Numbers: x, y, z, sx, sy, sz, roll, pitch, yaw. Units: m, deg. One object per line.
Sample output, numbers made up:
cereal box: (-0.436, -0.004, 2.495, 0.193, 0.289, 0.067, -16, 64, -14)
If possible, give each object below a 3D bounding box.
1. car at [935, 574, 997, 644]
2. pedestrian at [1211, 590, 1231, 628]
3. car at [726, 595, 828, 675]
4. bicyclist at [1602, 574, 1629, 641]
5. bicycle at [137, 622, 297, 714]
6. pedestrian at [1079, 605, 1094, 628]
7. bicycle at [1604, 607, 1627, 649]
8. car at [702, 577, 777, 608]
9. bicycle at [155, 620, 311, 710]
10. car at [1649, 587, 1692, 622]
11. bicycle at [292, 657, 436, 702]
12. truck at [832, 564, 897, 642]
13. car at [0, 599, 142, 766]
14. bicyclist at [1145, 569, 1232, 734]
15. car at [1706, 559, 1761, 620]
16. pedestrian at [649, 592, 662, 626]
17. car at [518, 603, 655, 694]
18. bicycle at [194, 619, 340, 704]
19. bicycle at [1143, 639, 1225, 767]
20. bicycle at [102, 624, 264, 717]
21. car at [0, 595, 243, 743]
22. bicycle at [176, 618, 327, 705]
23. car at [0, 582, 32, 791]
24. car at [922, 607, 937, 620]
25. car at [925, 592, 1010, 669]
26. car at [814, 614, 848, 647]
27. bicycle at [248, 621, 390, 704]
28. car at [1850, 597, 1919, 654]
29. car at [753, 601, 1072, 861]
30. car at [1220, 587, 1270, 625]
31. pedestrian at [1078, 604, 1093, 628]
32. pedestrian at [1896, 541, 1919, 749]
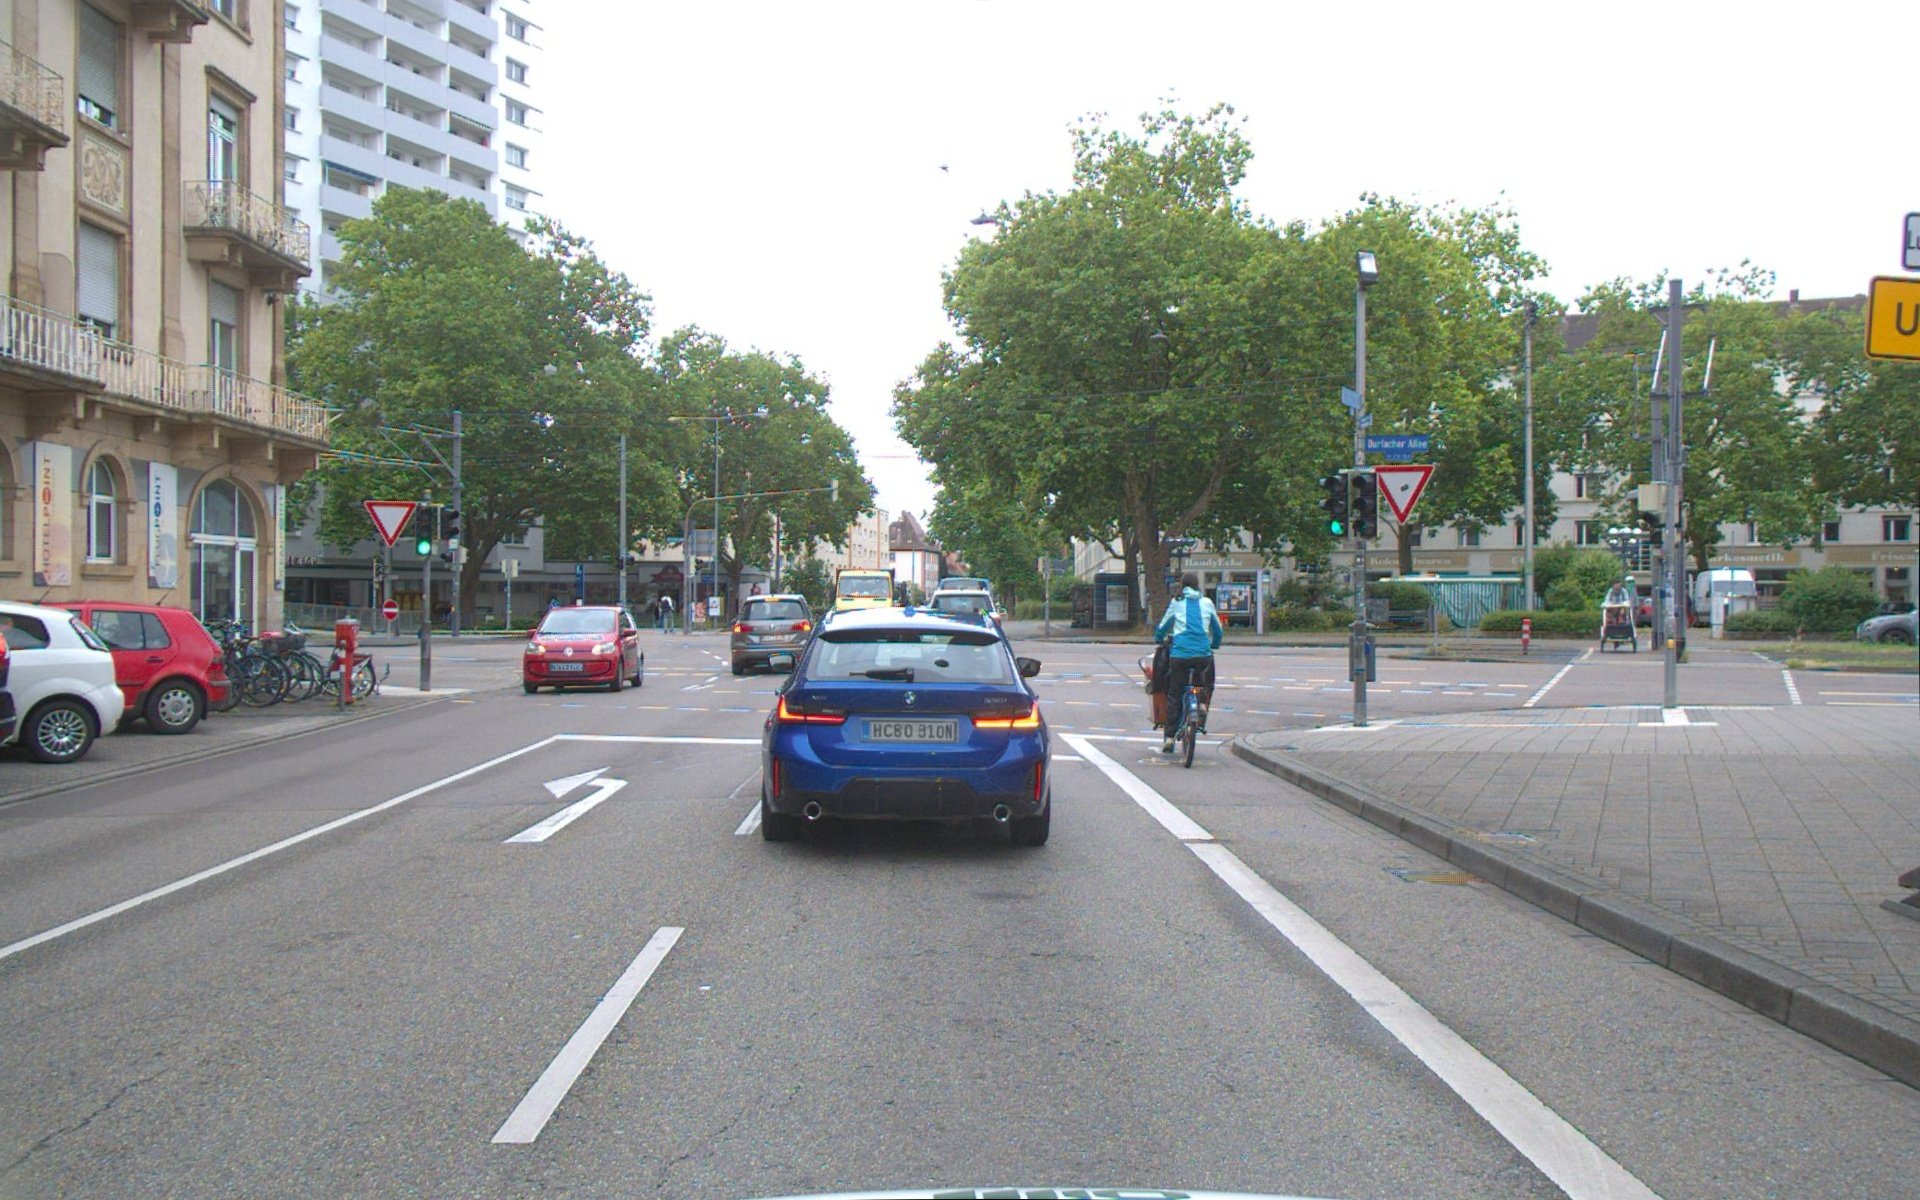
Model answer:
car: (0.148, 0.260, 49.931, 1.778, 2.040, 3.999, 0, 0, -1)
pedestrian: (12.251, 0.406, 77.609, 0.768, 1.774, 0.925, 0, 0, -2)
car: (-3.739, 0.675, 34.329, 1.697, 1.551, 3.999, 0, 0, -1)
bicyclist: (16.556, 0.186, 41.779, 0.601, 1.683, 0.754, 0, 0, 21)
bicycle: (-10.037, 0.915, 22.373, 1.849, 1.053, 0.442, 5, 0, -3)
pedestrian: (7.298, 0.964, 95.403, 0.835, 1.337, 0.762, 0, 0, -1)
bicycle: (16.563, 0.695, 41.808, 0.540, 1.013, 2.061, 0, 0, 21)
car: (-13.086, -0.432, 98.240, 3.953, 1.736, 1.976, 1, -1, -35)
bicycle: (-10.057, 0.898, 22.909, 1.849, 1.053, 0.442, 5, 0, -3)
car: (31.746, 0.186, 73.855, 1.632, 1.542, 3.935, 0, 0, 25)
bicycle: (-9.272, 1.234, 25.802, 1.849, 0.453, 1.028, 5, 1, -3)
truck: (-3.164, 0.081, 55.526, 2.033, 2.450, 5.460, -1, 0, -2)
car: (-9.917, 0.731, 15.239, 3.968, 1.498, 1.540, 3, 0, -44)
bicyclist: (2.207, 0.482, 16.074, 0.672, 1.544, 1.058, 0, 0, -1)
car: (35.206, -0.461, 75.312, 2.191, 2.685, 5.443, 0, 0, 25)
pedestrian: (-16.389, 0.474, 89.024, 0.562, 1.816, 0.620, 0, 0, 8)
car: (-6.409, 0.793, 28.697, 1.615, 1.472, 3.510, 0, 0, -1)
bicycle: (-10.127, 0.896, 24.205, 1.849, 1.053, 0.442, 5, 0, -3)
bicycle: (2.182, 0.973, 16.286, 0.484, 1.117, 2.138, 0, 0, -1)
bicycle: (-10.115, 0.913, 21.556, 1.847, 1.053, 0.442, 4, 0, 2)
car: (-10.186, 0.719, 18.080, 1.653, 1.498, 3.978, 2, 0, 40)
bicycle: (-10.083, 0.877, 23.570, 1.849, 1.053, 0.442, 5, 0, -3)
car: (-9.641, 0.674, 12.619, 4.192, 1.680, 1.704, 1, -1, -44)
car: (-3.623, 1.573, 198.200, 1.815, 1.478, 4.167, 0, 0, -1)
car: (0.138, 0.635, 37.073, 1.778, 1.620, 3.999, 0, 0, -1)
car: (-8.257, 1.945, 106.357, 1.881, 2.049, 3.935, 0, 0, -1)
bicycle: (-9.581, 0.932, 24.759, 1.849, 1.053, 0.442, 5, 0, -3)
car: (27.179, 0.707, 46.189, 3.895, 1.589, 1.687, -1, -1, 22)
car: (-0.290, 0.734, 11.418, 1.778, 1.430, 4.319, 0, 0, -1)
car: (17.289, 0.366, 100.247, 2.130, 2.239, 3.998, 0, 0, 23)
pedestrian: (7.298, 0.939, 96.342, 0.801, 1.396, 0.762, 0, -1, -1)
pedestrian: (8.149, 0.360, 13.363, 0.619, 1.702, 0.970, -2, 0, 6)
